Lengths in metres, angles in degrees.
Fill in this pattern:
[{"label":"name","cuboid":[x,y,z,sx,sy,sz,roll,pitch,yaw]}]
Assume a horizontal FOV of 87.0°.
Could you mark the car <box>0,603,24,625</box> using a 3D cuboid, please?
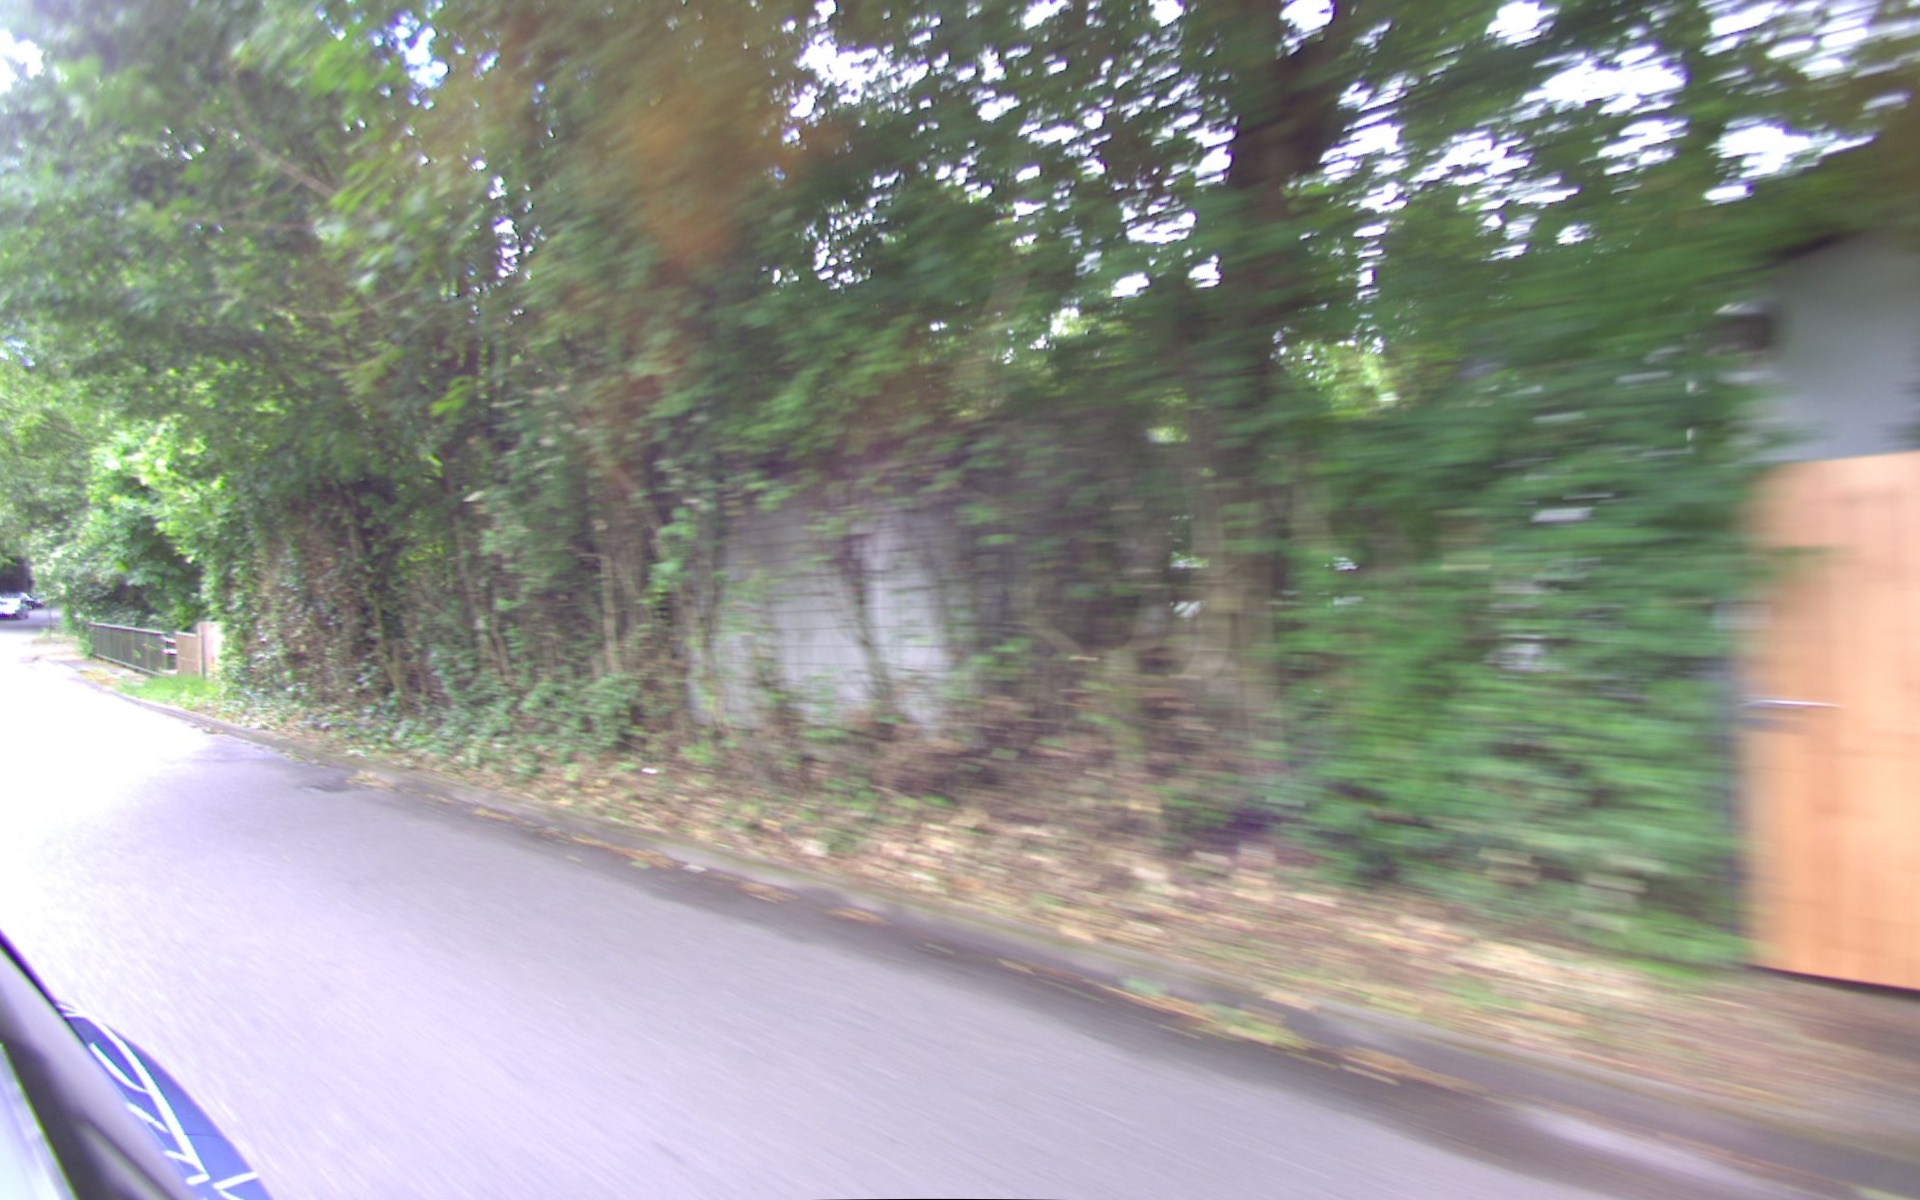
[{"label":"car","cuboid":[-68.242,1.006,72.039,1.967,1.541,4.009,0,0,-37]}]
